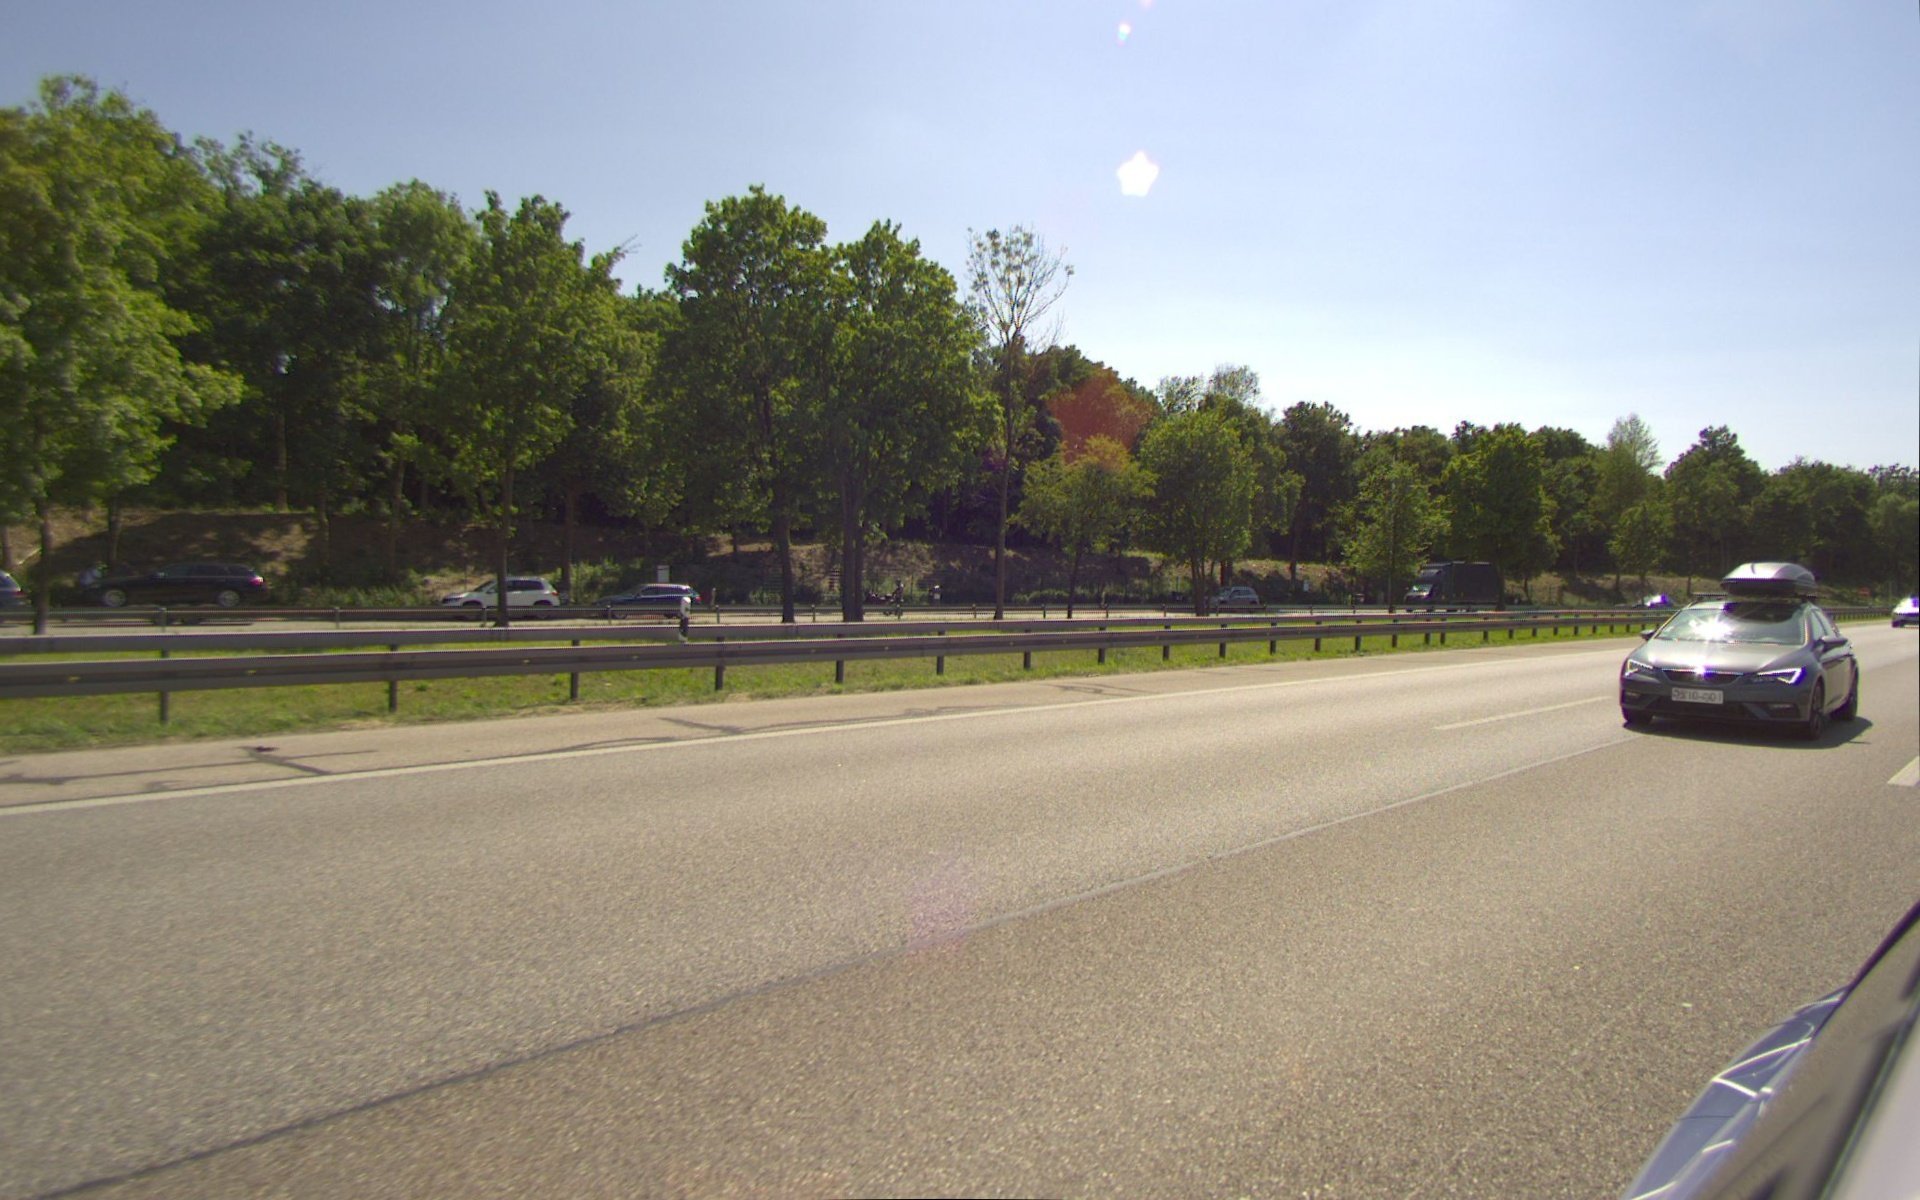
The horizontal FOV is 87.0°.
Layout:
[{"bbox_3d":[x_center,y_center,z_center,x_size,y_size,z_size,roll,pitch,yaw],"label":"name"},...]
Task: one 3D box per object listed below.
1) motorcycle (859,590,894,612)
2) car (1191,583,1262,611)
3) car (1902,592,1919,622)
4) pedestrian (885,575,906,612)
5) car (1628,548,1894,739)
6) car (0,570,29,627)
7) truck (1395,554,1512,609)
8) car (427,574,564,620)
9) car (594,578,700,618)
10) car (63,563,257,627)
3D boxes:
[{"bbox_3d":[-4.130,0.050,50.101,1.641,1.043,0.560,0,1,-35],"label":"motorcycle"},{"bbox_3d":[17.003,-0.204,64.609,4.232,1.671,2.002,0,1,-31],"label":"car"},{"bbox_3d":[53.097,0.369,55.296,3.963,1.588,1.847,0,0,-39],"label":"car"},{"bbox_3d":[-3.186,-0.333,49.973,0.796,1.804,0.634,1,1,37],"label":"pedestrian"},{"bbox_3d":[9.843,0.400,12.277,4.743,1.899,1.668,0,2,-41],"label":"car"},{"bbox_3d":[-29.620,-0.046,28.857,4.417,1.662,1.659,-1,1,-40],"label":"car"},{"bbox_3d":[37.563,-1.393,76.864,9.162,3.996,3.301,0,1,-29],"label":"truck"},{"bbox_3d":[-17.872,-0.144,39.034,4.568,1.696,1.660,-1,1,-39],"label":"car"},{"bbox_3d":[-13.187,-0.093,42.702,3.921,1.593,2.002,0,1,-32],"label":"car"},{"bbox_3d":[-25.203,-0.195,32.113,4.710,1.900,1.661,0,1,-36],"label":"car"}]
